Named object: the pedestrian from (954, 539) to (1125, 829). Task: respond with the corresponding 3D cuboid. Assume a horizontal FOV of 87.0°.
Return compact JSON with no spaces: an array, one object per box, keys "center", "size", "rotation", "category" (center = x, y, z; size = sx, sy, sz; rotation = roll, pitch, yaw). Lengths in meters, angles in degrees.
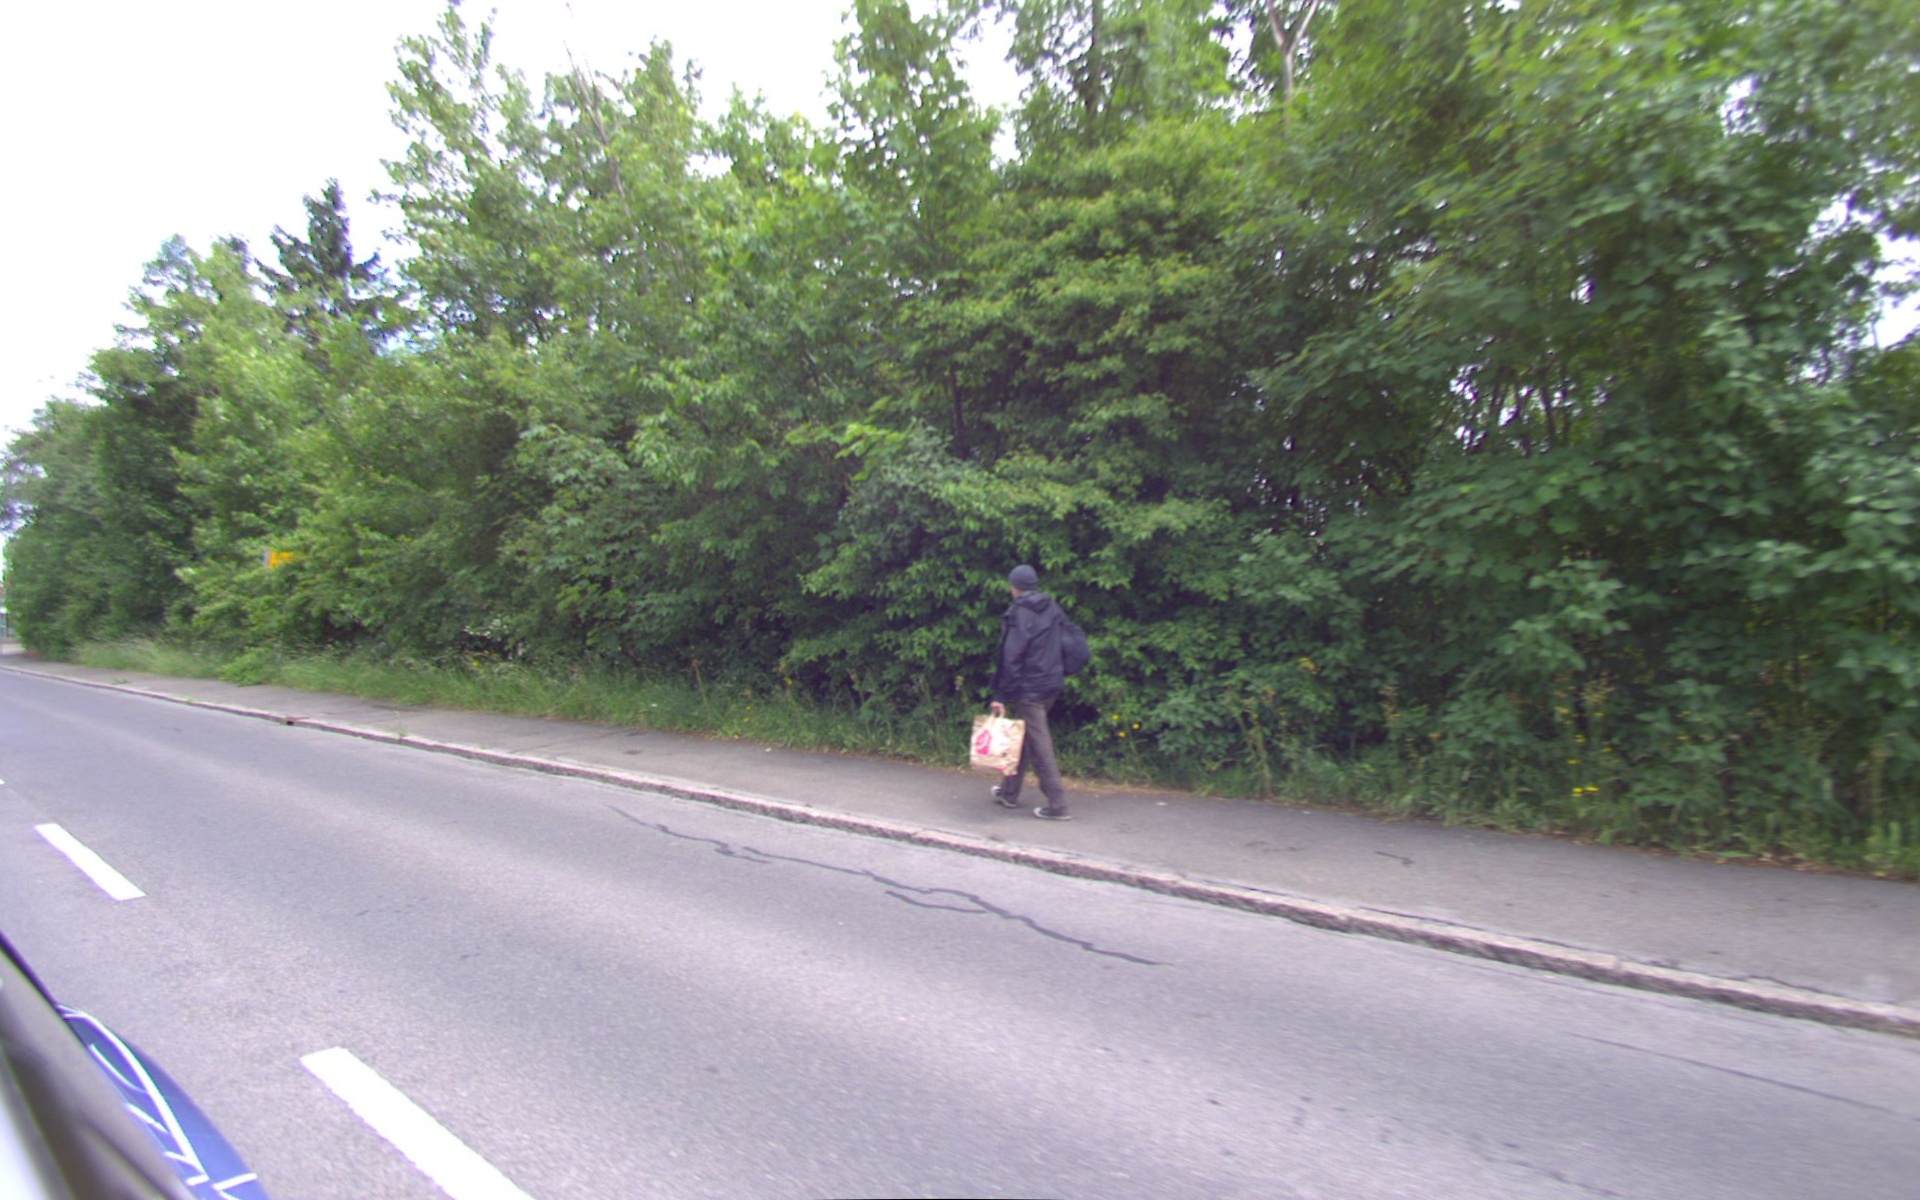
[{"center":[0.541,0.534,6.822],"size":[0.788,1.783,0.860],"rotation":[-3,-3,37],"category":"pedestrian"}]
